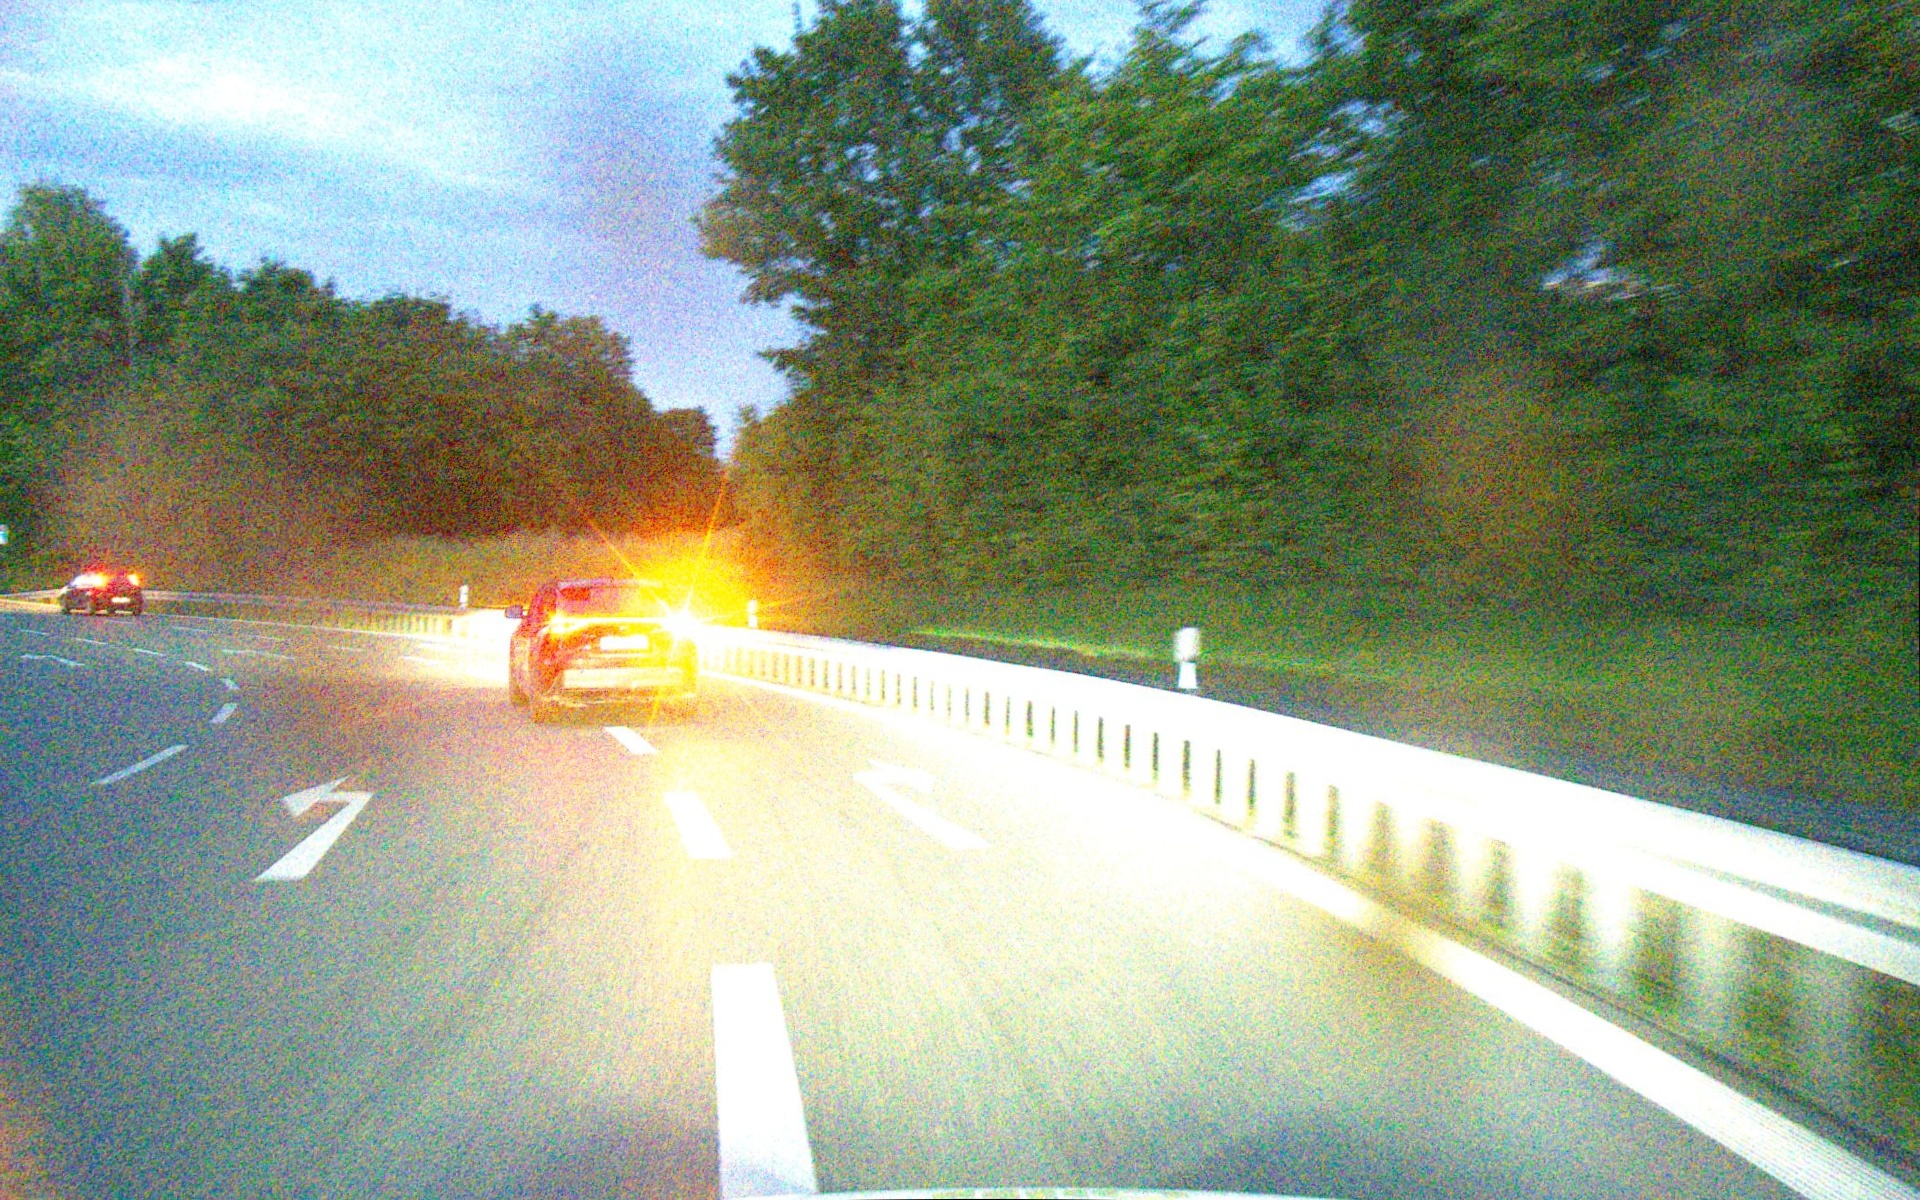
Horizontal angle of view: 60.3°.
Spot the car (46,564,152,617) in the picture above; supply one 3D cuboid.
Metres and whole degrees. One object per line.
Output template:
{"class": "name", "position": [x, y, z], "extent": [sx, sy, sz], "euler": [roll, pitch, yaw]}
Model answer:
{"class": "car", "position": [-29.283, -0.334, 56.223], "extent": [3.932, 1.626, 1.987], "euler": [2, 0, 44]}

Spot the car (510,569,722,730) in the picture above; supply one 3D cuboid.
{"class": "car", "position": [-4.234, 0.526, 19.843], "extent": [1.963, 1.688, 4.292], "euler": [2, 0, -18]}
